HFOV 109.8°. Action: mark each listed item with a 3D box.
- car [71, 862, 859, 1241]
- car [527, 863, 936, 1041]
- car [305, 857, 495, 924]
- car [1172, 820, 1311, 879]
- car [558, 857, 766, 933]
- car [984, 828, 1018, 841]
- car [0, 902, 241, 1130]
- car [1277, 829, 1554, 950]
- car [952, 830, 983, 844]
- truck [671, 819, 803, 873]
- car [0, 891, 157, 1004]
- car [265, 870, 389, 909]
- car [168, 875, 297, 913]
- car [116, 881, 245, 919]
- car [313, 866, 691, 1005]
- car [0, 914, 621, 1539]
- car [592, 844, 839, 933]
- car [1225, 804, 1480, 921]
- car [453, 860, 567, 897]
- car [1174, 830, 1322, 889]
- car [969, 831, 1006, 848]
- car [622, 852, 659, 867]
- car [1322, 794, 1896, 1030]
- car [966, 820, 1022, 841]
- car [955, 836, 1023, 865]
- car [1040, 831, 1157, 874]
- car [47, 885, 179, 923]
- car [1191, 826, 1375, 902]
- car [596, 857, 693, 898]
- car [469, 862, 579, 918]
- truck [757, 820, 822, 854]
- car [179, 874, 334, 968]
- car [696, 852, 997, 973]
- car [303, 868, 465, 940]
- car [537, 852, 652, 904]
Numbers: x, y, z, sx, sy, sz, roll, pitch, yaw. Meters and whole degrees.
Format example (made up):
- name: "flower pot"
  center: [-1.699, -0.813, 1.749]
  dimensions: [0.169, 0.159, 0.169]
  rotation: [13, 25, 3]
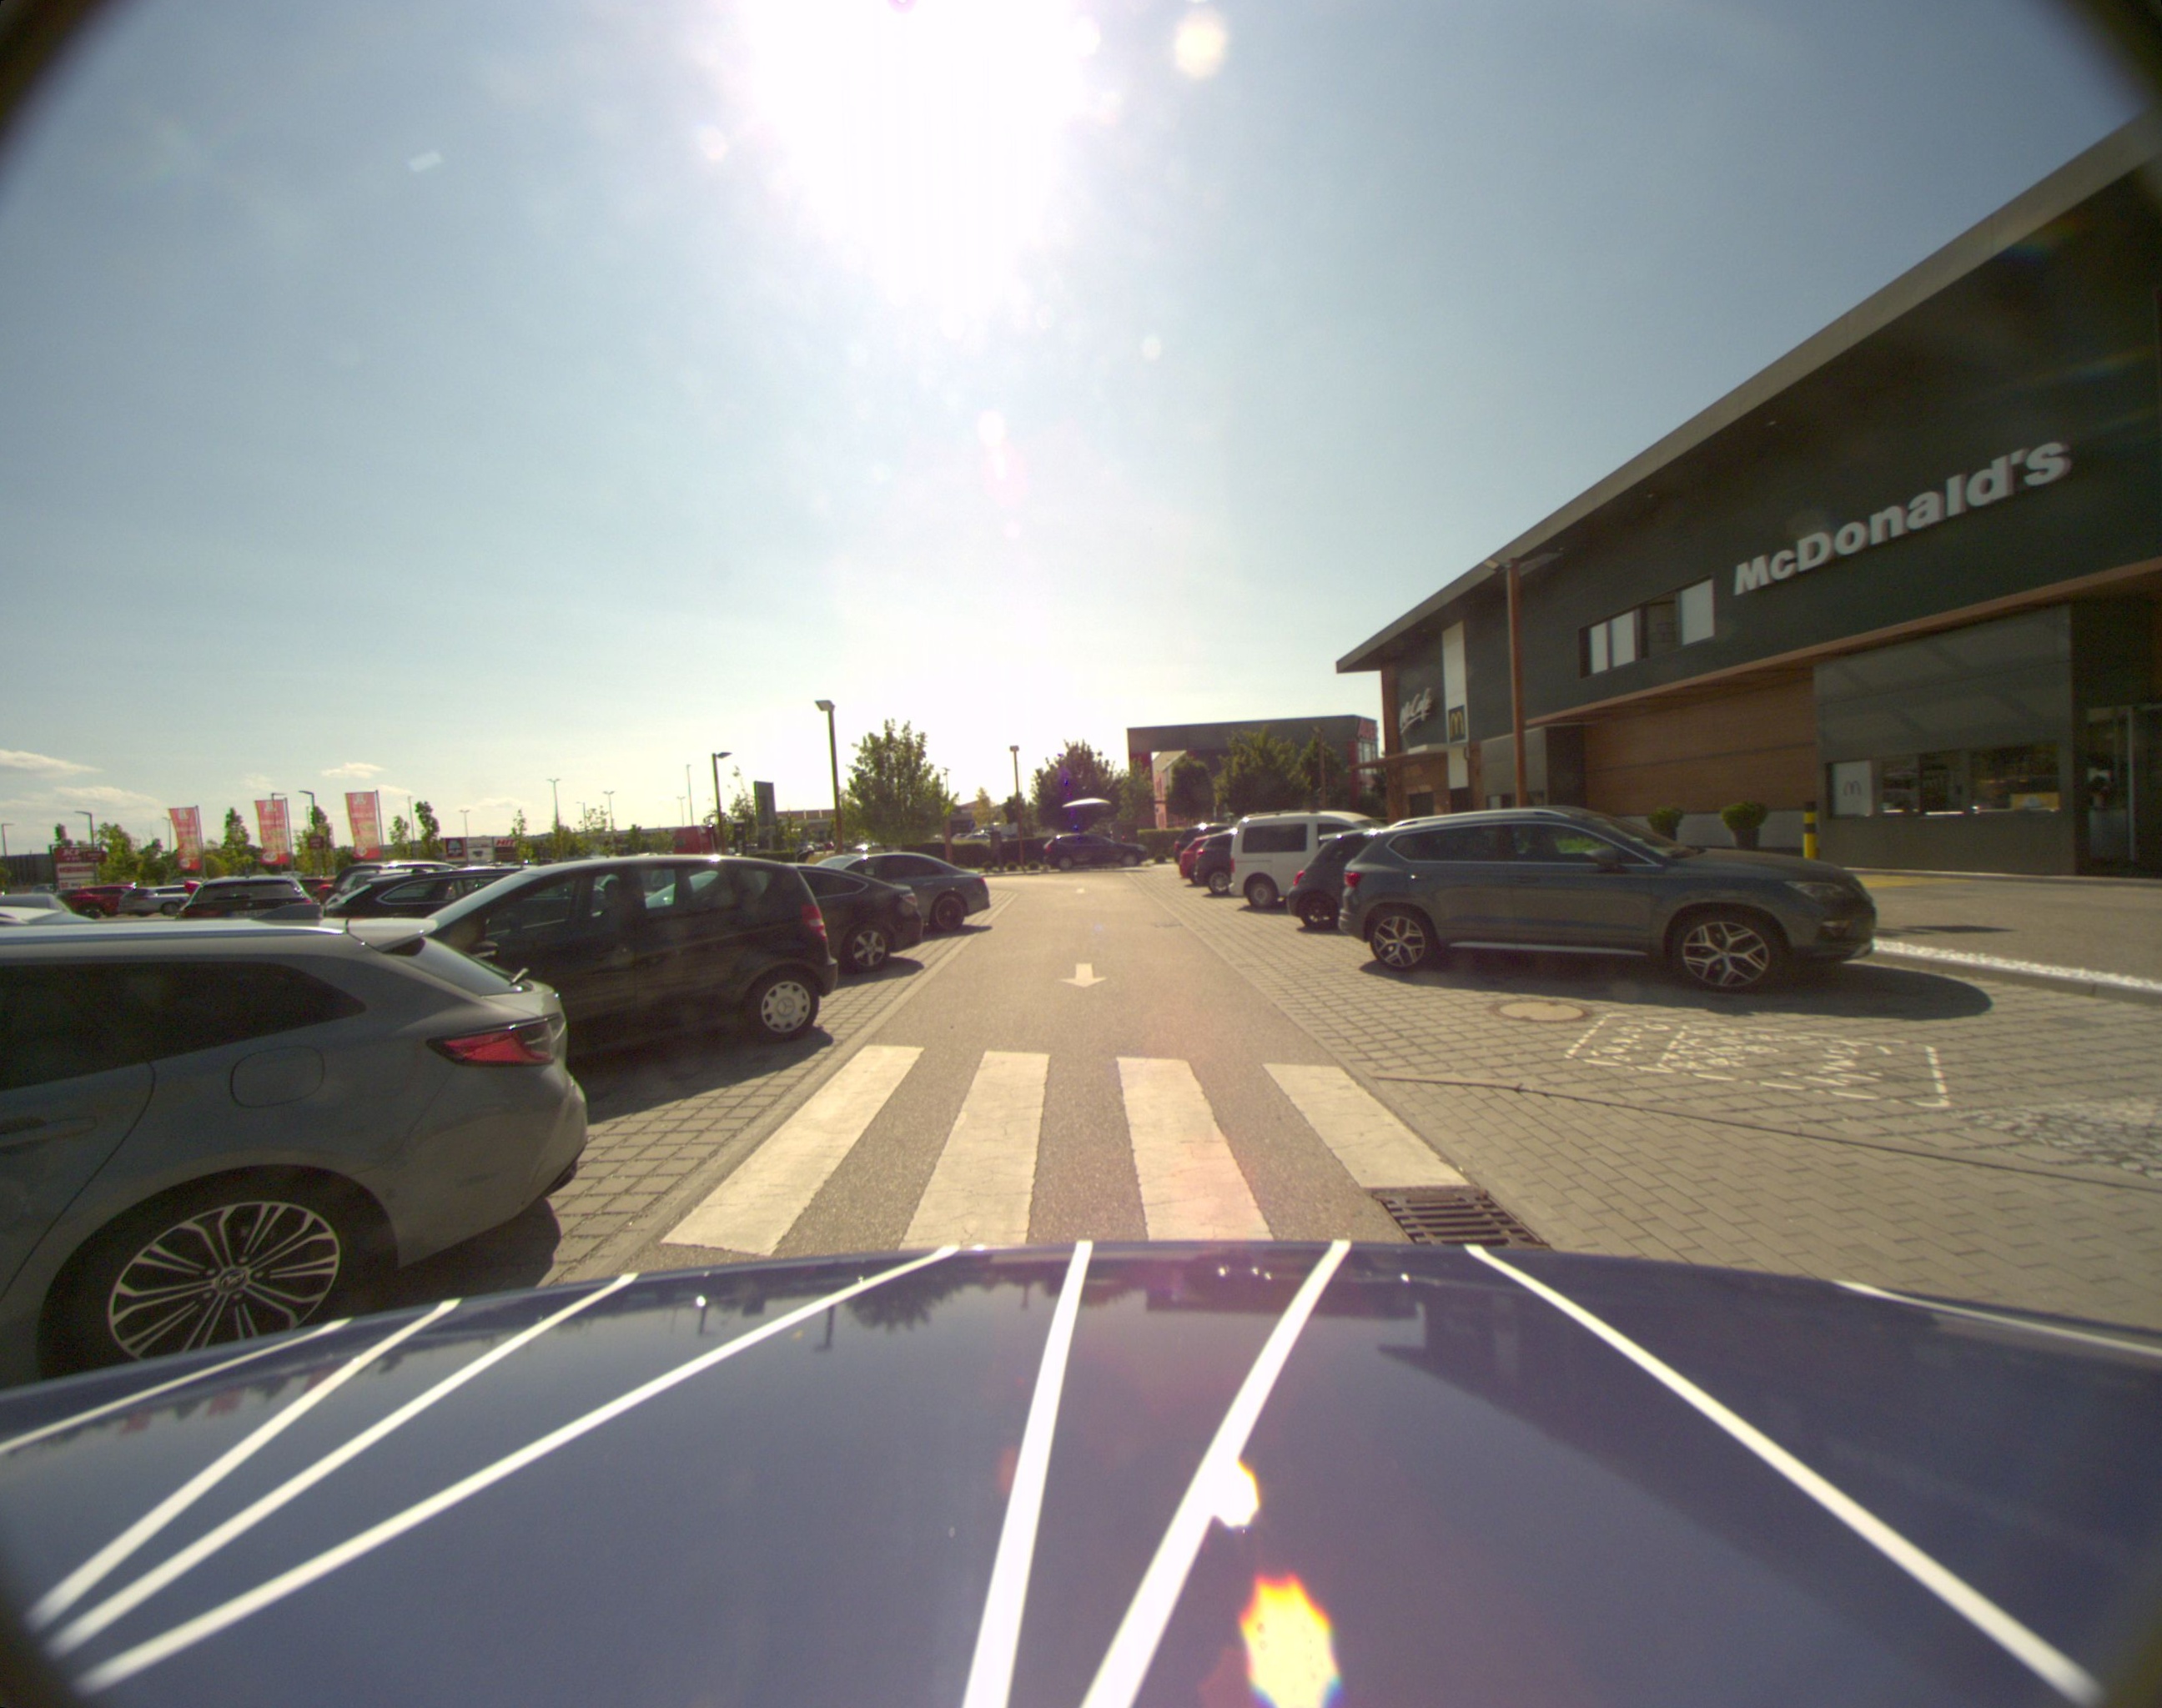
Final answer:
- name: "car"
  center: [-4.000, 0.988, 5.711]
  dimensions: [4.007, 1.584, 1.807]
  rotation: [-5, 3, -45]
- name: "car"
  center: [-4.063, 0.964, 9.288]
  dimensions: [4.083, 1.441, 1.823]
  rotation: [-5, 3, -44]
- name: "car"
  center: [-22.004, 1.107, 24.858]
  dimensions: [2.071, 1.740, 4.366]
  rotation: [-3, 2, 1]
- name: "car"
  center: [5.205, -0.125, 24.805]
  dimensions: [4.028, 1.696, 1.678]
  rotation: [-2, 3, 38]
- name: "car"
  center: [-9.824, 0.883, 18.039]
  dimensions: [1.702, 1.418, 3.910]
  rotation: [-1, 2, 43]
- name: "car"
  center: [-9.606, -2.326, 91.804]
  dimensions: [3.905, 1.335, 1.665]
  rotation: [-3, 2, 0]
- name: "car"
  center: [-8.691, 1.223, 5.000]
  dimensions: [1.788, 1.400, 4.089]
  rotation: [-1, 2, 45]
- name: "car"
  center: [4.842, 0.478, 11.167]
  dimensions: [3.406, 1.474, 1.571]
  rotation: [-2, 2, 37]
- name: "car"
  center: [-15.788, -2.388, 106.117]
  dimensions: [1.889, 1.718, 4.264]
  rotation: [-2, 2, 31]
- name: "truck"
  center: [-28.013, -0.694, 62.128]
  dimensions: [9.121, 3.845, 3.210]
  rotation: [-3, 2, 4]
- name: "car"
  center: [-16.228, 1.386, 11.861]
  dimensions: [3.989, 1.395, 1.824]
  rotation: [-1, 3, 45]
- name: "car"
  center: [-35.164, 1.614, 35.579]
  dimensions: [1.685, 1.446, 3.756]
  rotation: [-3, 2, 8]
- name: "car"
  center: [-40.770, 1.903, 36.654]
  dimensions: [1.685, 1.446, 3.756]
  rotation: [-3, 2, 8]
- name: "car"
  center: [-44.736, 2.247, 37.872]
  dimensions: [1.685, 1.446, 3.756]
  rotation: [-3, 2, 8]
- name: "car"
  center: [-8.940, 1.096, 12.048]
  dimensions: [4.425, 1.502, 1.978]
  rotation: [-5, 3, -44]
- name: "car"
  center: [-4.150, 1.131, 2.022]
  dimensions: [4.671, 1.438, 1.831]
  rotation: [-3, 1, -42]
- name: "car"
  center: [-7.937, 0.653, 16.781]
  dimensions: [4.425, 1.502, 1.978]
  rotation: [-5, 3, -44]
- name: "car"
  center: [5.031, 0.137, 14.365]
  dimensions: [4.133, 1.911, 1.761]
  rotation: [-1, 3, 40]
- name: "car"
  center: [-26.929, 1.131, 36.033]
  dimensions: [1.886, 1.390, 4.156]
  rotation: [-3, 2, 8]
- name: "car"
  center: [4.794, 0.167, 21.822]
  dimensions: [3.763, 1.436, 1.677]
  rotation: [-3, 2, 28]
- name: "car"
  center: [-10.669, -1.632, 86.697]
  dimensions: [3.998, 1.718, 1.893]
  rotation: [-3, 2, -4]
- name: "car"
  center: [-50.399, 0.623, 86.947]
  dimensions: [1.537, 1.548, 3.225]
  rotation: [-2, 2, 27]
- name: "car"
  center: [4.822, 0.462, 7.451]
  dimensions: [1.793, 1.594, 4.216]
  rotation: [-8, 3, -44]
- name: "car"
  center: [-10.803, -2.971, 94.650]
  dimensions: [6.567, 2.232, 2.300]
  rotation: [-3, 2, 0]
- name: "car"
  center: [-7.291, -0.287, 60.643]
  dimensions: [5.017, 2.003, 1.999]
  rotation: [-3, 3, 1]
- name: "car"
  center: [0.745, -0.096, 34.400]
  dimensions: [5.061, 1.621, 1.923]
  rotation: [-3, 2, -2]
- name: "car"
  center: [-49.538, 2.529, 38.989]
  dimensions: [1.685, 1.503, 3.756]
  rotation: [-3, 2, 8]
- name: "car"
  center: [4.785, 0.237, 18.162]
  dimensions: [3.834, 1.623, 1.761]
  rotation: [-2, 2, 34]
- name: "car"
  center: [-17.181, 0.917, 29.854]
  dimensions: [4.075, 1.414, 1.800]
  rotation: [-1, 2, 38]
- name: "car"
  center: [-16.642, 1.006, 22.612]
  dimensions: [4.669, 1.403, 1.715]
  rotation: [-1, 3, 43]
- name: "truck"
  center: [-31.574, -1.803, 82.225]
  dimensions: [7.545, 3.333, 2.426]
  rotation: [-1, 3, 33]
- name: "car"
  center: [-16.373, 1.213, 15.150]
  dimensions: [3.989, 1.481, 1.824]
  rotation: [-1, 3, 43]
- name: "car"
  center: [-3.890, 0.849, 13.203]
  dimensions: [4.550, 1.502, 1.882]
  rotation: [-5, 3, -44]
- name: "car"
  center: [-17.383, 1.197, 18.912]
  dimensions: [4.341, 1.503, 1.782]
  rotation: [-2, 2, 32]
- name: "car"
  center: [-16.689, 0.807, 26.006]
  dimensions: [4.044, 1.548, 1.810]
  rotation: [-2, 2, 35]
